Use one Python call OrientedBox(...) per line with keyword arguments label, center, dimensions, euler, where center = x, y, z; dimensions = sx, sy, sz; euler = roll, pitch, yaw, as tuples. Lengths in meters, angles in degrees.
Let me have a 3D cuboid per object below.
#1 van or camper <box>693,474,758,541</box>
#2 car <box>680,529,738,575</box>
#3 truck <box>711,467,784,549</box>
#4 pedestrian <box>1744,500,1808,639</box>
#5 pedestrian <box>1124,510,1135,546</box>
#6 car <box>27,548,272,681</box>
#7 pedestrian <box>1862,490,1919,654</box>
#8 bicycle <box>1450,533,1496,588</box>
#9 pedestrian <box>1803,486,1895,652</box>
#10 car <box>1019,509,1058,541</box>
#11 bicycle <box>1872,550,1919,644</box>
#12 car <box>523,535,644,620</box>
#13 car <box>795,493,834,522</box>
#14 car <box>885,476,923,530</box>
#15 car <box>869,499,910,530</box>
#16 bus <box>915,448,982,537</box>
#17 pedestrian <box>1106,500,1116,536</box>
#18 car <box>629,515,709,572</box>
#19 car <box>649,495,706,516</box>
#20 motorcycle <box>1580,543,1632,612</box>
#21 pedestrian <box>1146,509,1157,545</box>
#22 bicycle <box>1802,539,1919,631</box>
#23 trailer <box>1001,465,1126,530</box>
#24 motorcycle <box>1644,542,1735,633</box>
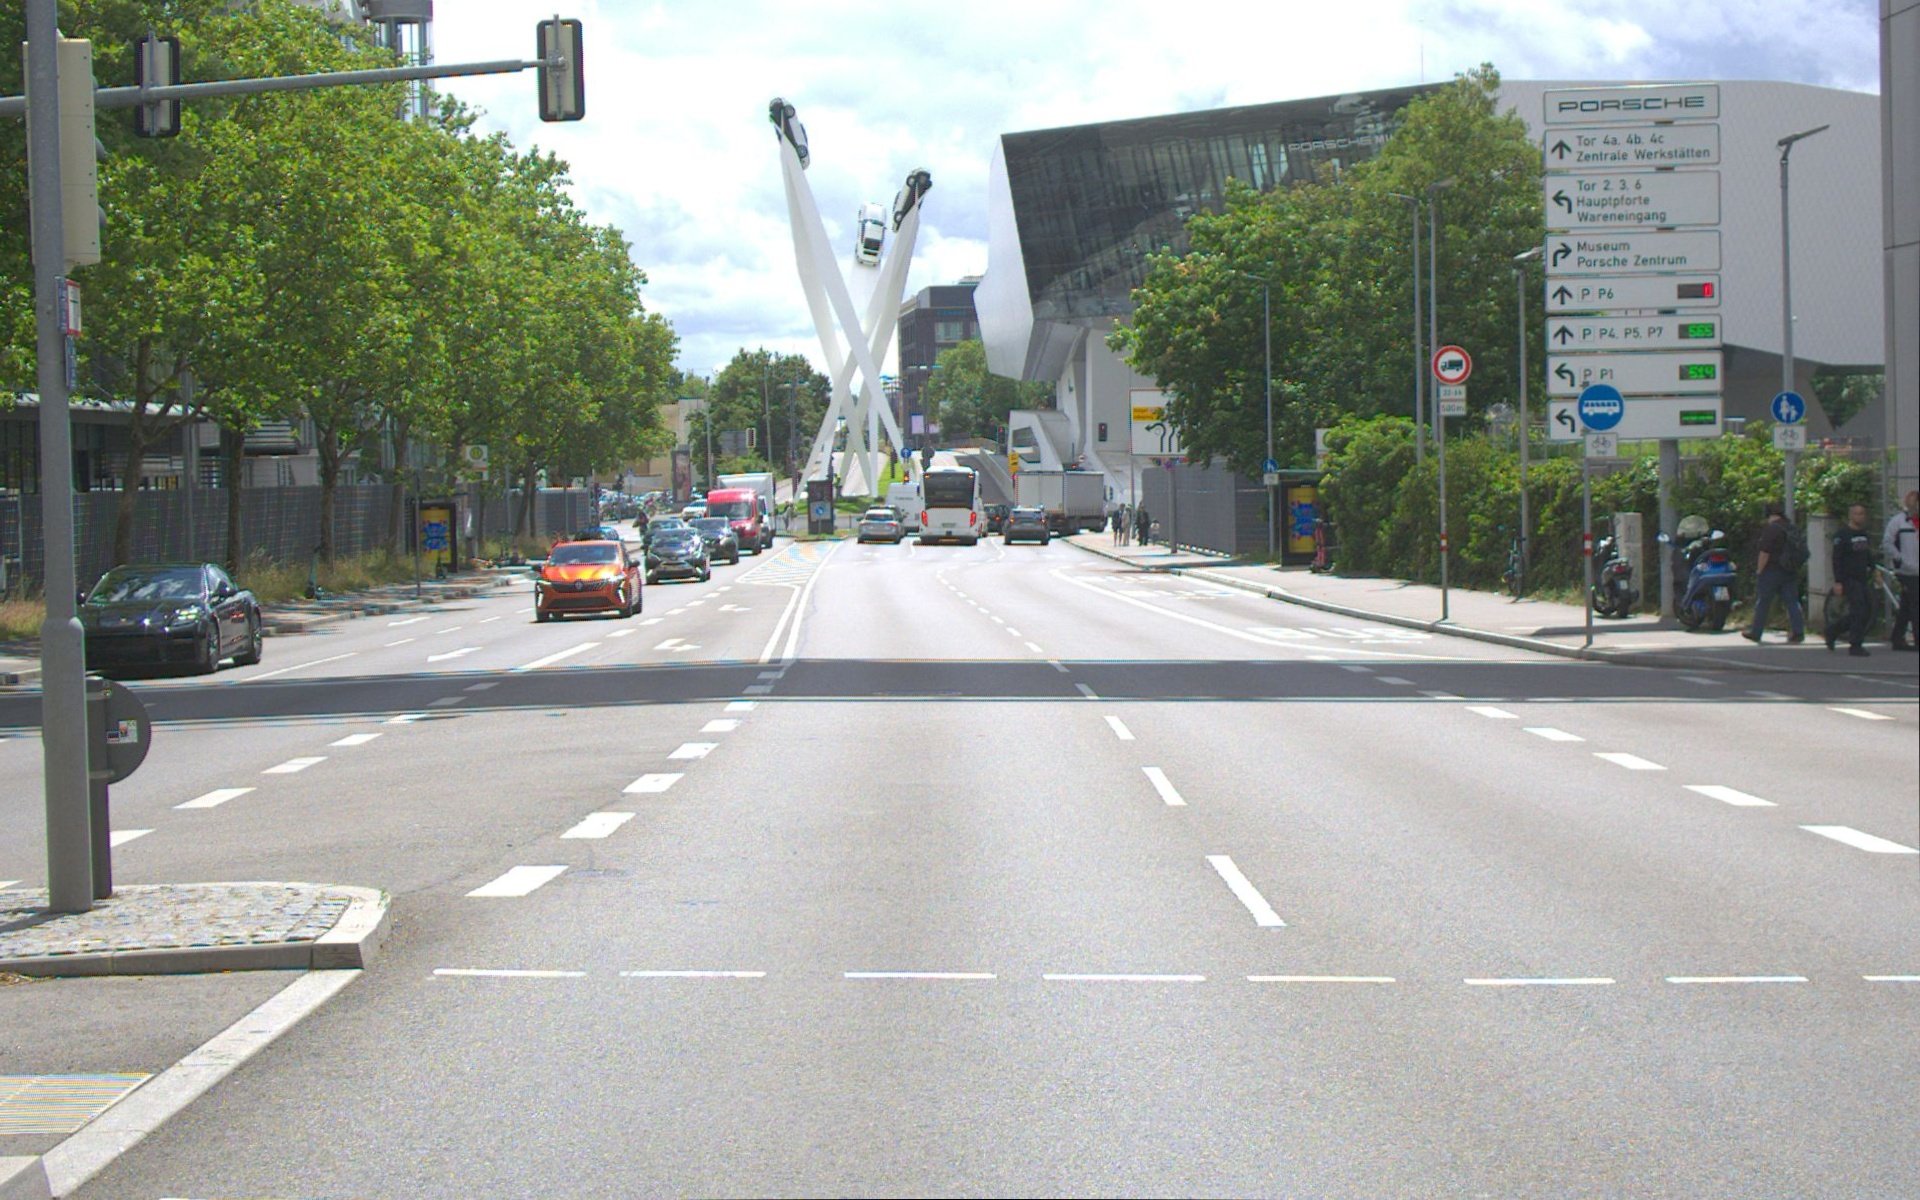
OrientedBox(label="van or camper", center=(-8.844, -3.478, 130.021), dimensions=(2.047, 2.458, 5.595), euler=(0, 1, 0))
OrientedBox(label="car", center=(-8.331, -1.605, 114.263), dimensions=(1.557, 1.443, 3.773), euler=(-3, 1, 0))
OrientedBox(label="truck", center=(-8.933, -3.832, 145.252), dimensions=(2.591, 3.312, 7.079), euler=(1, 1, 0))
OrientedBox(label="pedestrian", center=(9.694, -0.364, 40.845), dimensions=(0.533, 1.635, 0.658), euler=(1, 0, -6))
OrientedBox(label="pedestrian", center=(6.712, -2.858, 136.376), dimensions=(0.386, 1.416, 0.423), euler=(1, 0, 0))
OrientedBox(label="car", center=(-10.291, 0.138, 44.013), dimensions=(1.917, 1.483, 4.772), euler=(-3, 1, 0))
OrientedBox(label="pedestrian", center=(10.585, -0.322, 38.301), dimensions=(0.691, 1.787, 0.712), euler=(-3, 1, -16))
OrientedBox(label="bicycle", center=(9.734, -0.743, 65.265), dimensions=(0.418, 1.019, 1.913), euler=(1, 1, -5))
OrientedBox(label="pedestrian", center=(9.837, -0.342, 38.058), dimensions=(0.641, 1.787, 0.712), euler=(-3, 1, -16))
OrientedBox(label="car", center=(3.325, -3.205, 146.340), dimensions=(1.557, 1.269, 3.701), euler=(-3, 1, 1))
OrientedBox(label="bicycle", center=(11.658, -0.020, 39.540), dimensions=(2.222, 1.083, 0.476), euler=(1, 1, 35))
OrientedBox(label="car", center=(-6.930, -0.438, 63.570), dimensions=(1.769, 1.415, 3.701), euler=(-3, 1, 0))
OrientedBox(label="car", center=(-6.590, -4.181, 155.662), dimensions=(1.557, 1.269, 3.701), euler=(-3, 1, 0))
OrientedBox(label="car", center=(-2.802, -4.818, 171.134), dimensions=(1.843, 2.614, 4.000), euler=(1, 1, -1))
OrientedBox(label="car", center=(-3.040, -3.698, 148.737), dimensions=(1.557, 1.269, 3.701), euler=(-3, 1, 1))
OrientedBox(label="bus", center=(-0.480, -4.633, 149.781), dimensions=(2.787, 3.673, 6.943), euler=(1, 1, 0))
OrientedBox(label="pedestrian", center=(6.039, -3.288, 137.681), dimensions=(0.386, 1.416, 0.423), euler=(1, 0, 0))
OrientedBox(label="car", center=(-7.795, -1.521, 92.348), dimensions=(1.769, 1.415, 3.701), euler=(-3, 1, 0))
OrientedBox(label="car", center=(-19.216, -6.462, 234.103), dimensions=(1.561, 1.269, 3.692), euler=(-1, 2, 44))
OrientedBox(label="motorcycle", center=(9.761, -0.346, 52.007), dimensions=(0.457, 1.019, 1.912), euler=(1, 1, 1))
OrientedBox(label="pedestrian", center=(7.575, -2.905, 136.165), dimensions=(0.386, 1.416, 0.423), euler=(1, 0, 0))
OrientedBox(label="bicycle", center=(11.167, -0.177, 40.870), dimensions=(2.222, 1.083, 0.476), euler=(1, 1, 35))
OrientedBox(label="trailer", center=(5.262, -5.112, 172.119), dimensions=(3.322, 2.984, 10.366), euler=(1, 1, 19))
OrientedBox(label="motorcycle", center=(9.542, -0.167, 45.024), dimensions=(0.418, 1.162, 1.957), euler=(1, 1, -11))
